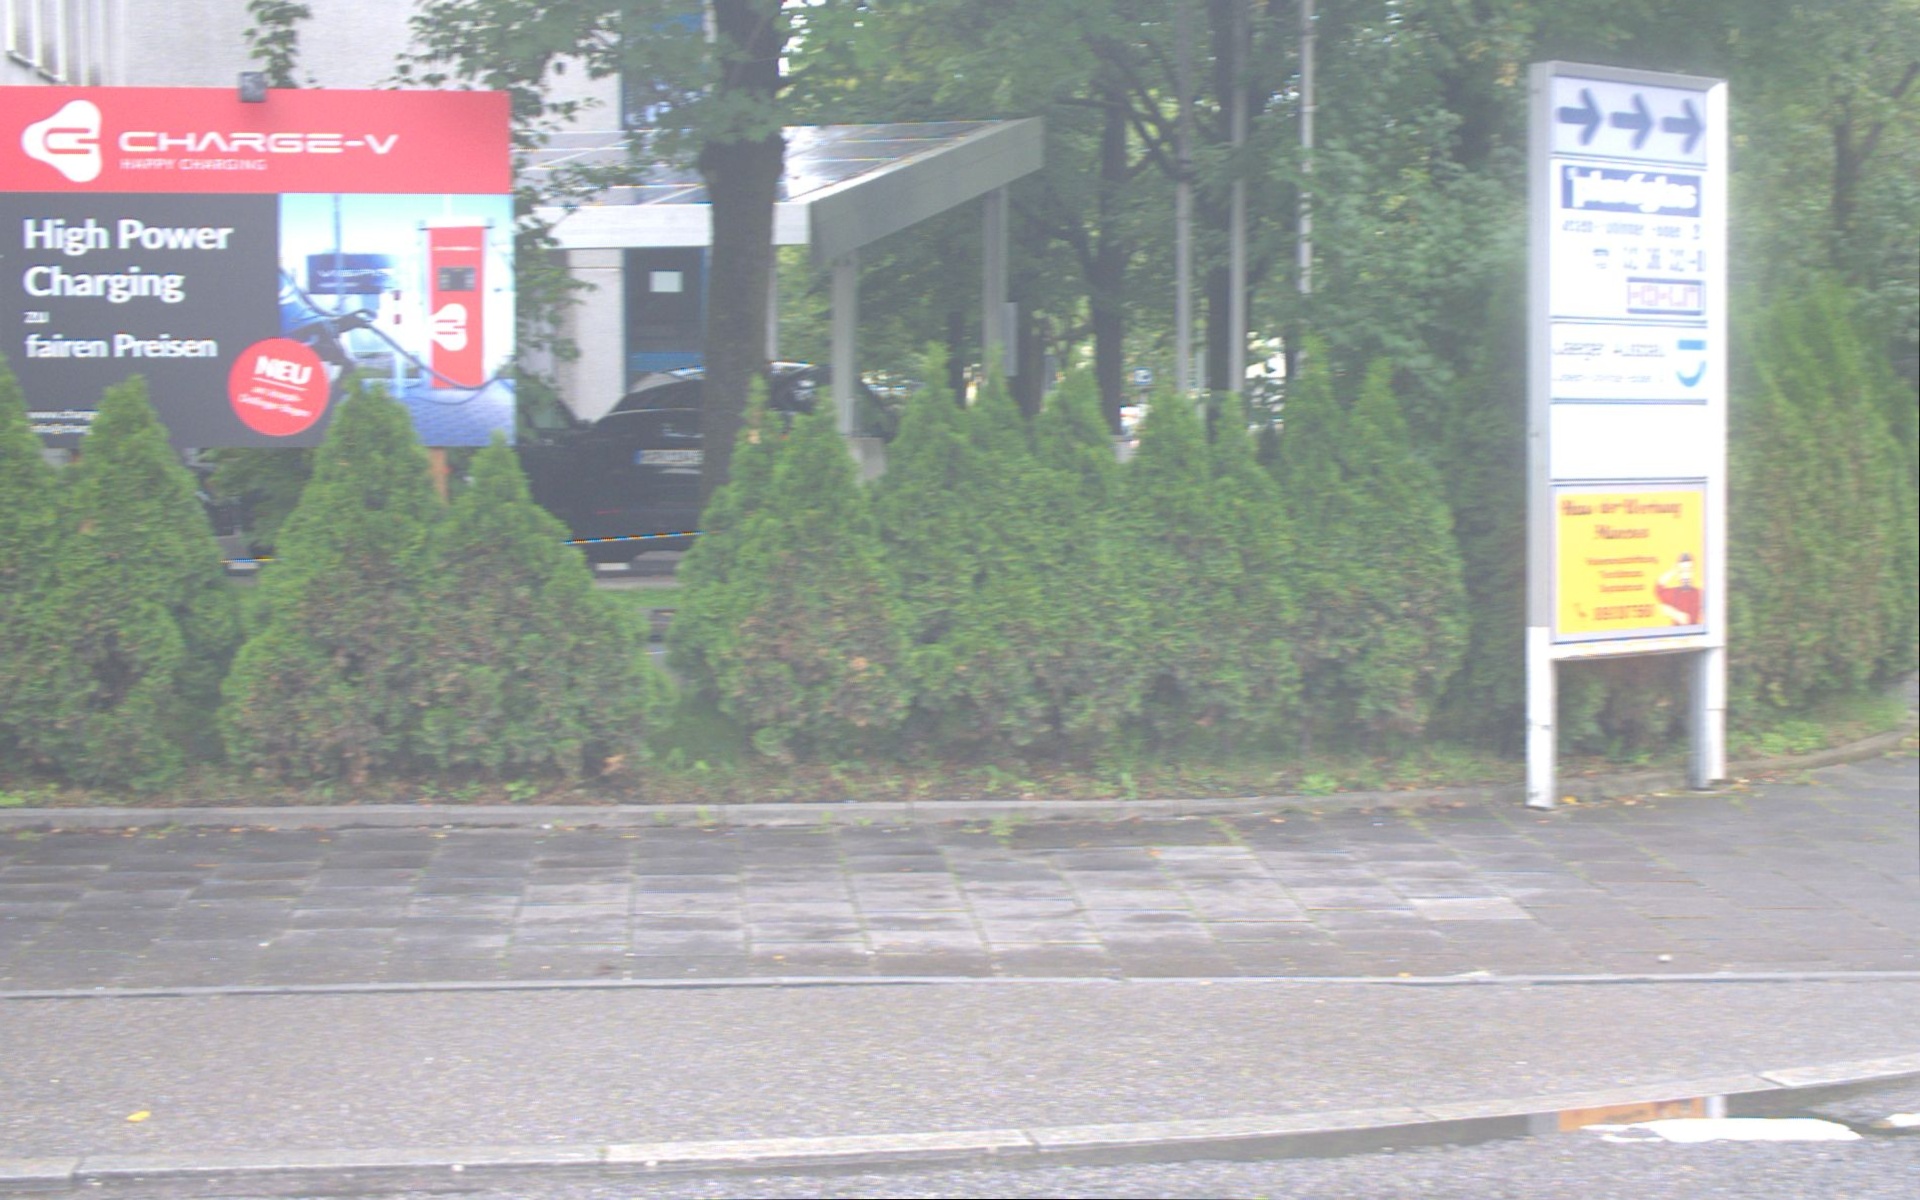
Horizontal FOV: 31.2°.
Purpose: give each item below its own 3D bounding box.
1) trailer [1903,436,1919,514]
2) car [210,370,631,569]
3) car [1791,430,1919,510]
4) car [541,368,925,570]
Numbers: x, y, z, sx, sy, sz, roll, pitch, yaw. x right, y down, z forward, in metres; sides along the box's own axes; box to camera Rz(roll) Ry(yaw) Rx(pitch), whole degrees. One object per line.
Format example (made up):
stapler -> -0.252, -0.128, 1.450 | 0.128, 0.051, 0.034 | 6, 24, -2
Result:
trailer -> 16.533, -1.961, 55.012 | 1.552, 1.258, 3.425 | -1, 4, -8
car -> -4.124, -1.089, 27.029 | 1.864, 1.413, 4.175 | 1, 4, 12
car -> 15.778, -2.262, 59.317 | 1.552, 1.258, 3.425 | -1, 4, -9
car -> -1.650, -1.071, 26.597 | 1.864, 1.413, 4.175 | 1, 4, 12
